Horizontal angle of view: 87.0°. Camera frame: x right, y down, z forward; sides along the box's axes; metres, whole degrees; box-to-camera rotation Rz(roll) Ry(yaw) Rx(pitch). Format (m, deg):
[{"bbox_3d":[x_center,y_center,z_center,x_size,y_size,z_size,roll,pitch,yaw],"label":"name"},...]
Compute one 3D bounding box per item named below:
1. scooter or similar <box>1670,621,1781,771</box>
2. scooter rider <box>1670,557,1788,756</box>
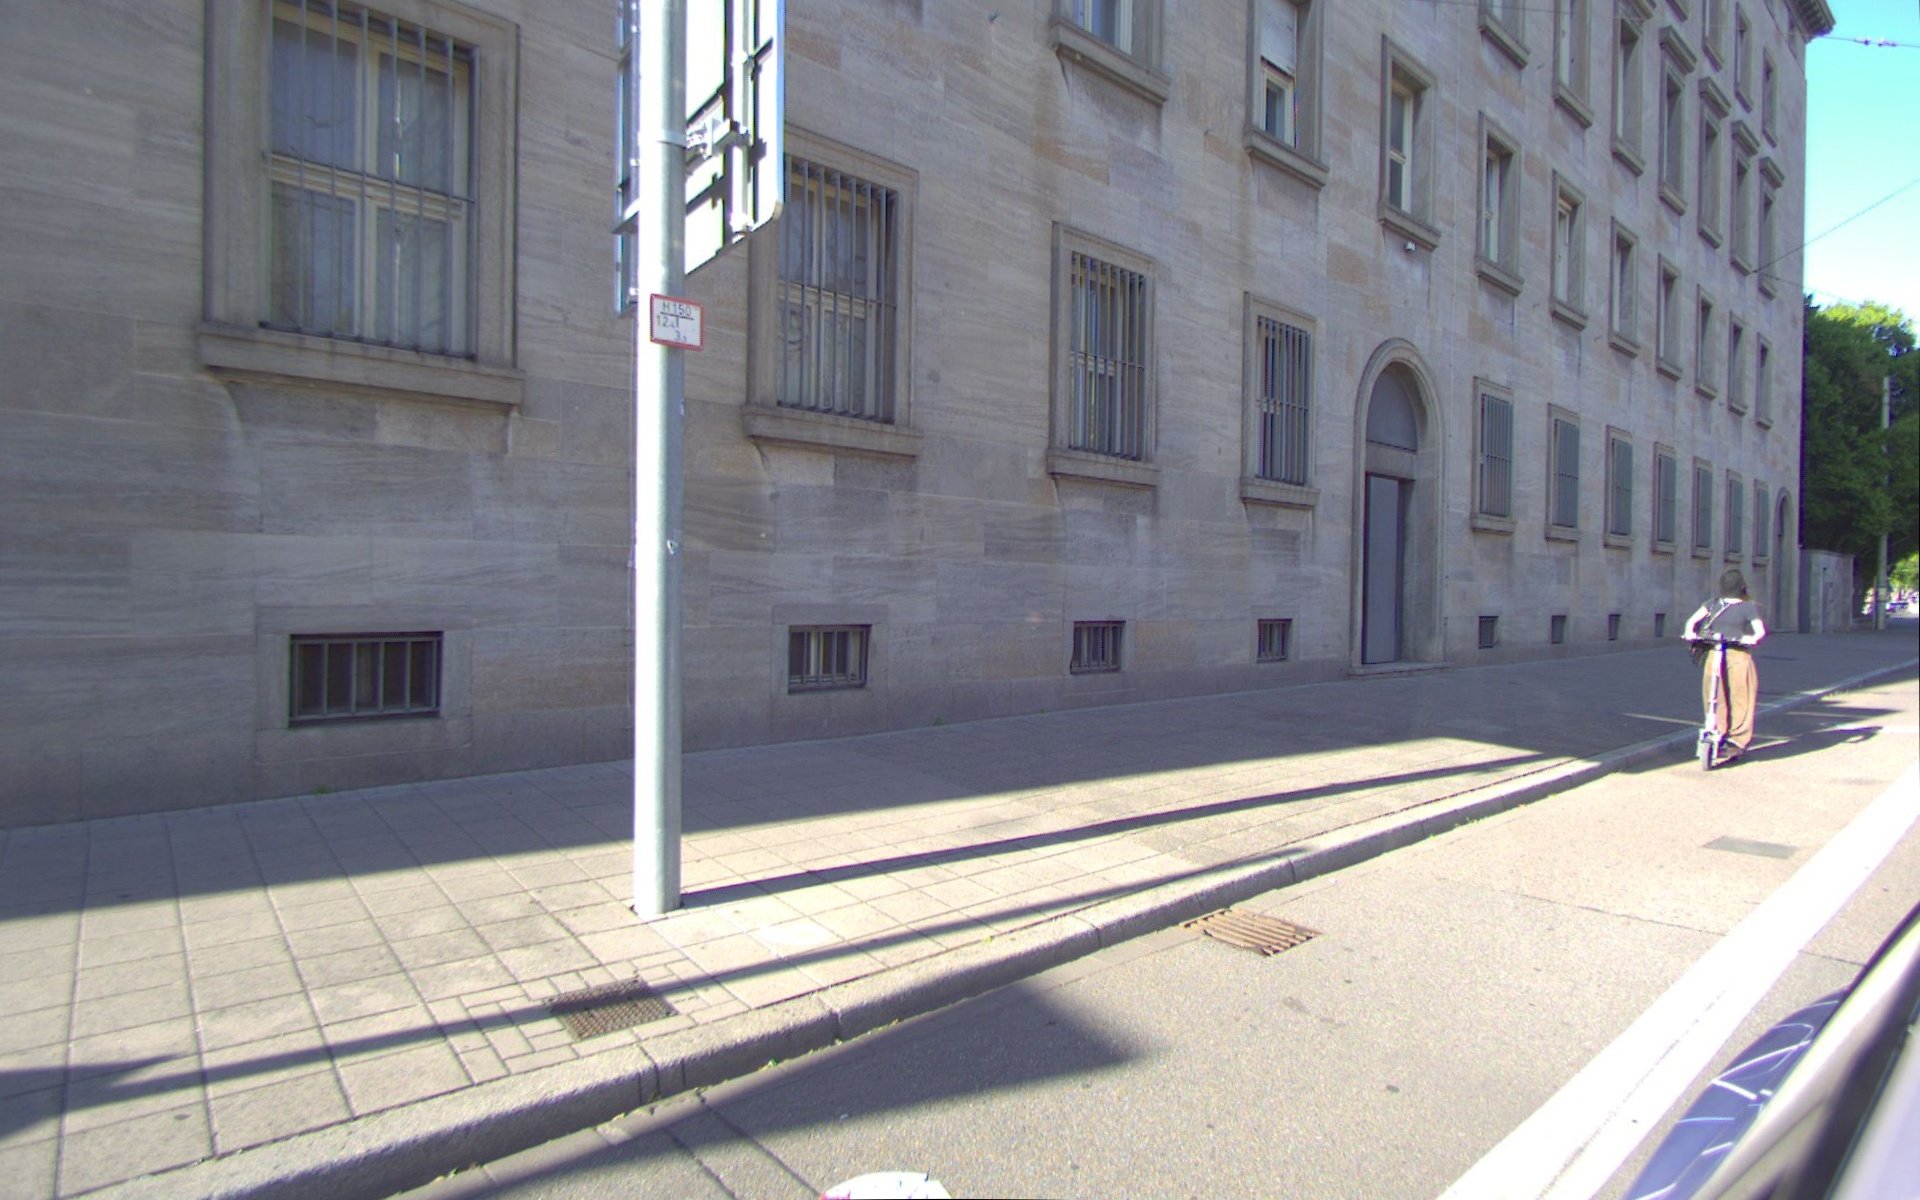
[{"bbox_3d":[6.848,0.808,9.036,1.305,1.200,0.535,0,1,-42],"label":"scooter or similar"},{"bbox_3d":[6.902,0.471,9.088,0.547,1.692,0.730,0,1,-42],"label":"scooter rider"}]
